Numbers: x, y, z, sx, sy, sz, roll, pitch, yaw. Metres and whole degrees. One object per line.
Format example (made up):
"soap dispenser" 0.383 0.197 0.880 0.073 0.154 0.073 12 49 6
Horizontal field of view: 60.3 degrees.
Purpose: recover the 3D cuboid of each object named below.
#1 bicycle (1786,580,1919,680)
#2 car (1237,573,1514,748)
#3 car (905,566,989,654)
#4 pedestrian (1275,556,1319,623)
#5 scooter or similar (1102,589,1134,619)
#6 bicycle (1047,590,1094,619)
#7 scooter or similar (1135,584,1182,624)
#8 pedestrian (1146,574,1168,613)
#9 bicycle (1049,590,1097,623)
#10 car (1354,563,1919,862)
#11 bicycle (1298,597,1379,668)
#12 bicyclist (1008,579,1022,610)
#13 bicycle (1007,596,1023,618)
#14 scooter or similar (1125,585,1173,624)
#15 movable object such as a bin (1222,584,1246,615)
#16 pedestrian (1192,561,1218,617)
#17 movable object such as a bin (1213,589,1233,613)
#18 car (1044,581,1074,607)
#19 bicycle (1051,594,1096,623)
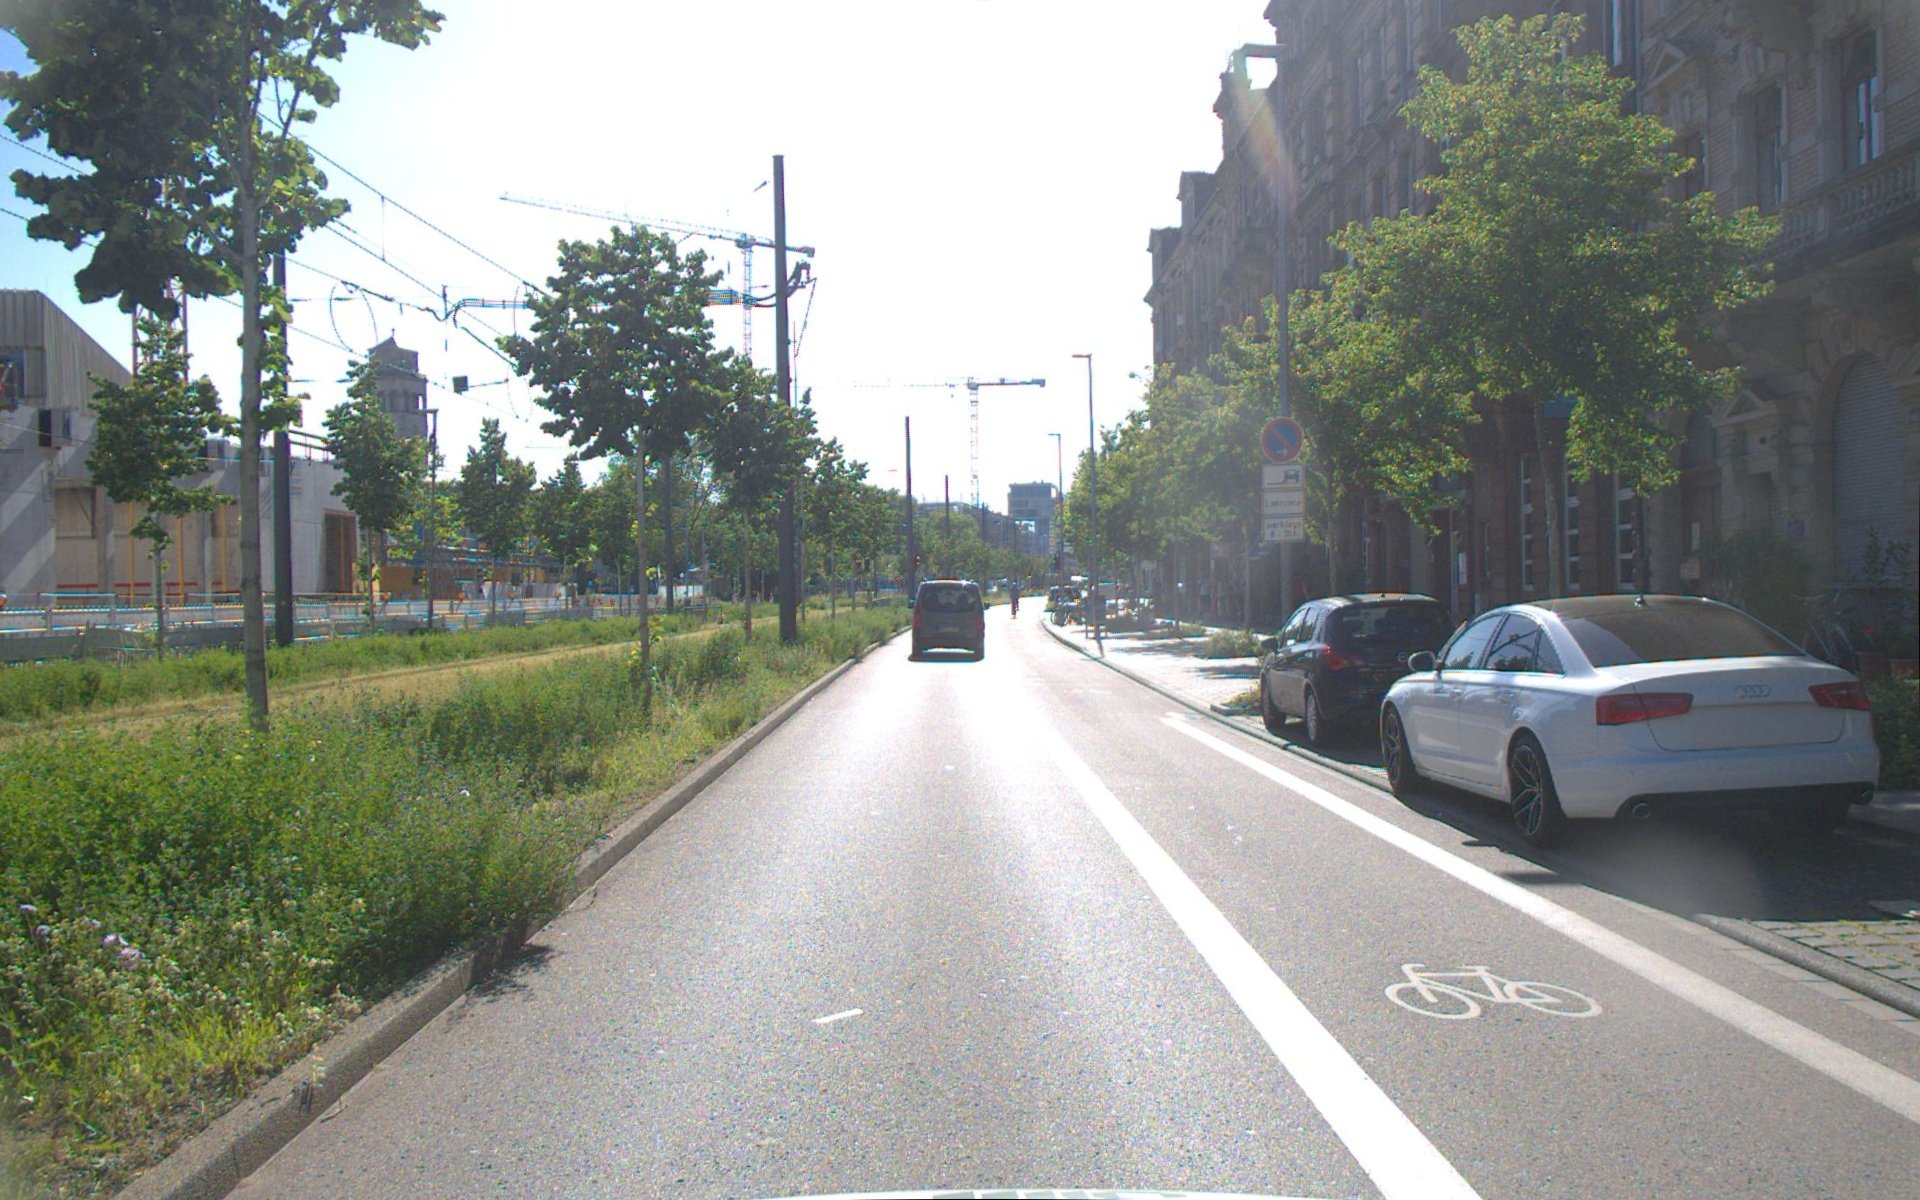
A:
"bicycle" 10.605 0.330 19.688 0.471 1.109 2.056 -2 0 0
"car" 4.405 0.593 18.212 1.846 1.597 4.219 -3 0 -1
"car" -0.306 0.251 40.656 1.953 2.049 4.000 0 0 0
"pedestrian" 8.979 -0.271 44.069 0.976 1.762 0.866 0 -1 -1
"scooter or similar" 6.287 0.155 66.017 1.194 1.125 0.783 -2 1 2
"bicycle" 4.817 0.193 71.902 1.879 1.140 0.664 -4 0 -7
"scooter or similar" 6.628 0.143 55.278 1.444 1.237 0.601 -3 1 -5
"pedestrian" 8.987 -0.289 75.400 0.827 1.772 0.886 -2 -1 0
"bicycle" 4.706 0.280 68.848 1.843 1.255 0.499 -3 0 -6
"car" 4.344 0.592 11.476 1.912 1.521 5.104 -3 0 -1
"bicycle" 6.405 0.538 28.110 0.637 1.139 2.169 -2 0 -6
"bicyclist" 2.875 -0.315 87.028 0.669 1.612 0.839 -1 0 -1
"bicycle" 2.889 0.349 87.042 0.687 1.110 2.277 -1 0 -1
"scooter or similar" 6.390 0.148 56.033 1.447 1.237 0.600 -3 1 -11
"movable object such as a bin" 10.056 -0.005 60.688 0.711 1.117 0.747 -1 0 -5
"pedestrian" 9.203 -0.406 62.089 0.801 2.049 1.046 0 -2 -1
"movable object such as a bin" 10.168 0.040 63.929 0.592 0.932 0.650 -1 0 -5
"car" 6.675 -0.385 111.048 1.946 1.666 4.191 0 0 4
"bicycle" 4.824 0.364 70.385 1.790 1.097 0.664 -4 0 -7
